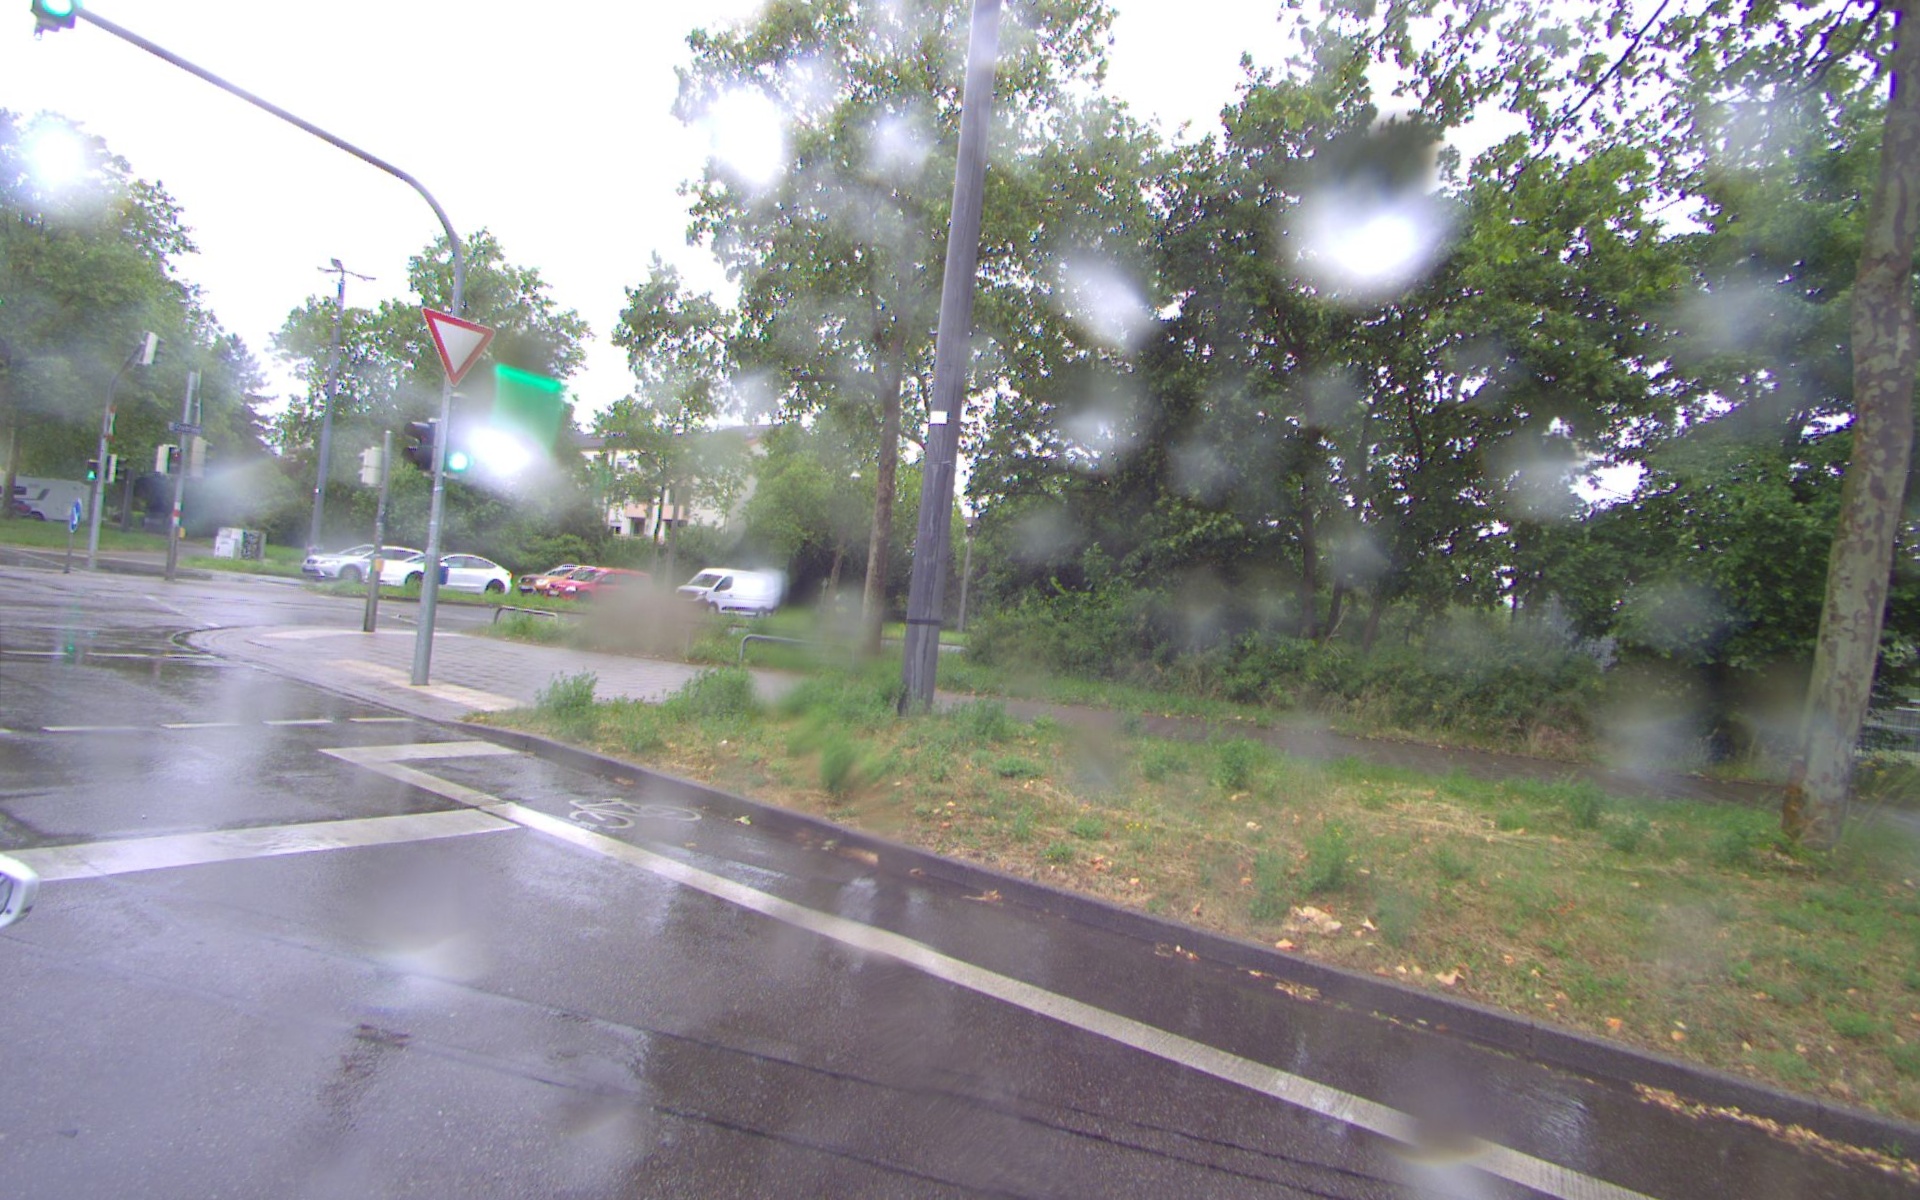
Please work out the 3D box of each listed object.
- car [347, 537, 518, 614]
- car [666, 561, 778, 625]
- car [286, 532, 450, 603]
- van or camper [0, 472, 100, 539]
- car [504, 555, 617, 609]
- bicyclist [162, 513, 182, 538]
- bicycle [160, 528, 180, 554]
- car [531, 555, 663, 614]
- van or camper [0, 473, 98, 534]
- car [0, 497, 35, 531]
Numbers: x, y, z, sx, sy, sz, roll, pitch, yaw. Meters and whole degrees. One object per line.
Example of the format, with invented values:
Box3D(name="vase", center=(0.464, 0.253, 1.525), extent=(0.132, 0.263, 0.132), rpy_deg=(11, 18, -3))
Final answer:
Box3D(name="car", center=(-17.148, -0.741, 32.990), extent=(1.900, 1.849, 4.608), rpy_deg=(7, -2, 26))
Box3D(name="car", center=(-11.711, -0.282, 49.956), extent=(1.966, 2.419, 5.619), rpy_deg=(6, -2, 29))
Box3D(name="car", center=(-20.110, -1.058, 34.396), extent=(1.900, 1.710, 4.407), rpy_deg=(7, -2, 26))
Box3D(name="van or camper", center=(-56.882, -5.901, 60.690), extent=(7.296, 3.215, 3.226), rpy_deg=(9, -2, -40))
Box3D(name="car", center=(-16.413, -0.693, 41.521), extent=(1.759, 1.625, 4.069), rpy_deg=(7, -2, 26))
Box3D(name="bicyclist", center=(-49.283, -4.659, 62.944), extent=(0.857, 1.441, 0.946), rpy_deg=(8, -1, -38))
Box3D(name="bicycle", center=(-49.206, -3.671, 62.684), extent=(0.857, 1.441, 2.675), rpy_deg=(8, -2, -38))
Box3D(name="car", center=(-13.827, -0.541, 38.636), extent=(1.760, 1.625, 4.615), rpy_deg=(6, -2, 29))
Box3D(name="van or camper", center=(-63.194, -6.679, 67.619), extent=(7.388, 3.215, 3.231), rpy_deg=(9, -2, -36))
Box3D(name="car", center=(-55.805, -5.142, 57.149), extent=(4.424, 1.736, 1.980), rpy_deg=(9, -2, -37))
